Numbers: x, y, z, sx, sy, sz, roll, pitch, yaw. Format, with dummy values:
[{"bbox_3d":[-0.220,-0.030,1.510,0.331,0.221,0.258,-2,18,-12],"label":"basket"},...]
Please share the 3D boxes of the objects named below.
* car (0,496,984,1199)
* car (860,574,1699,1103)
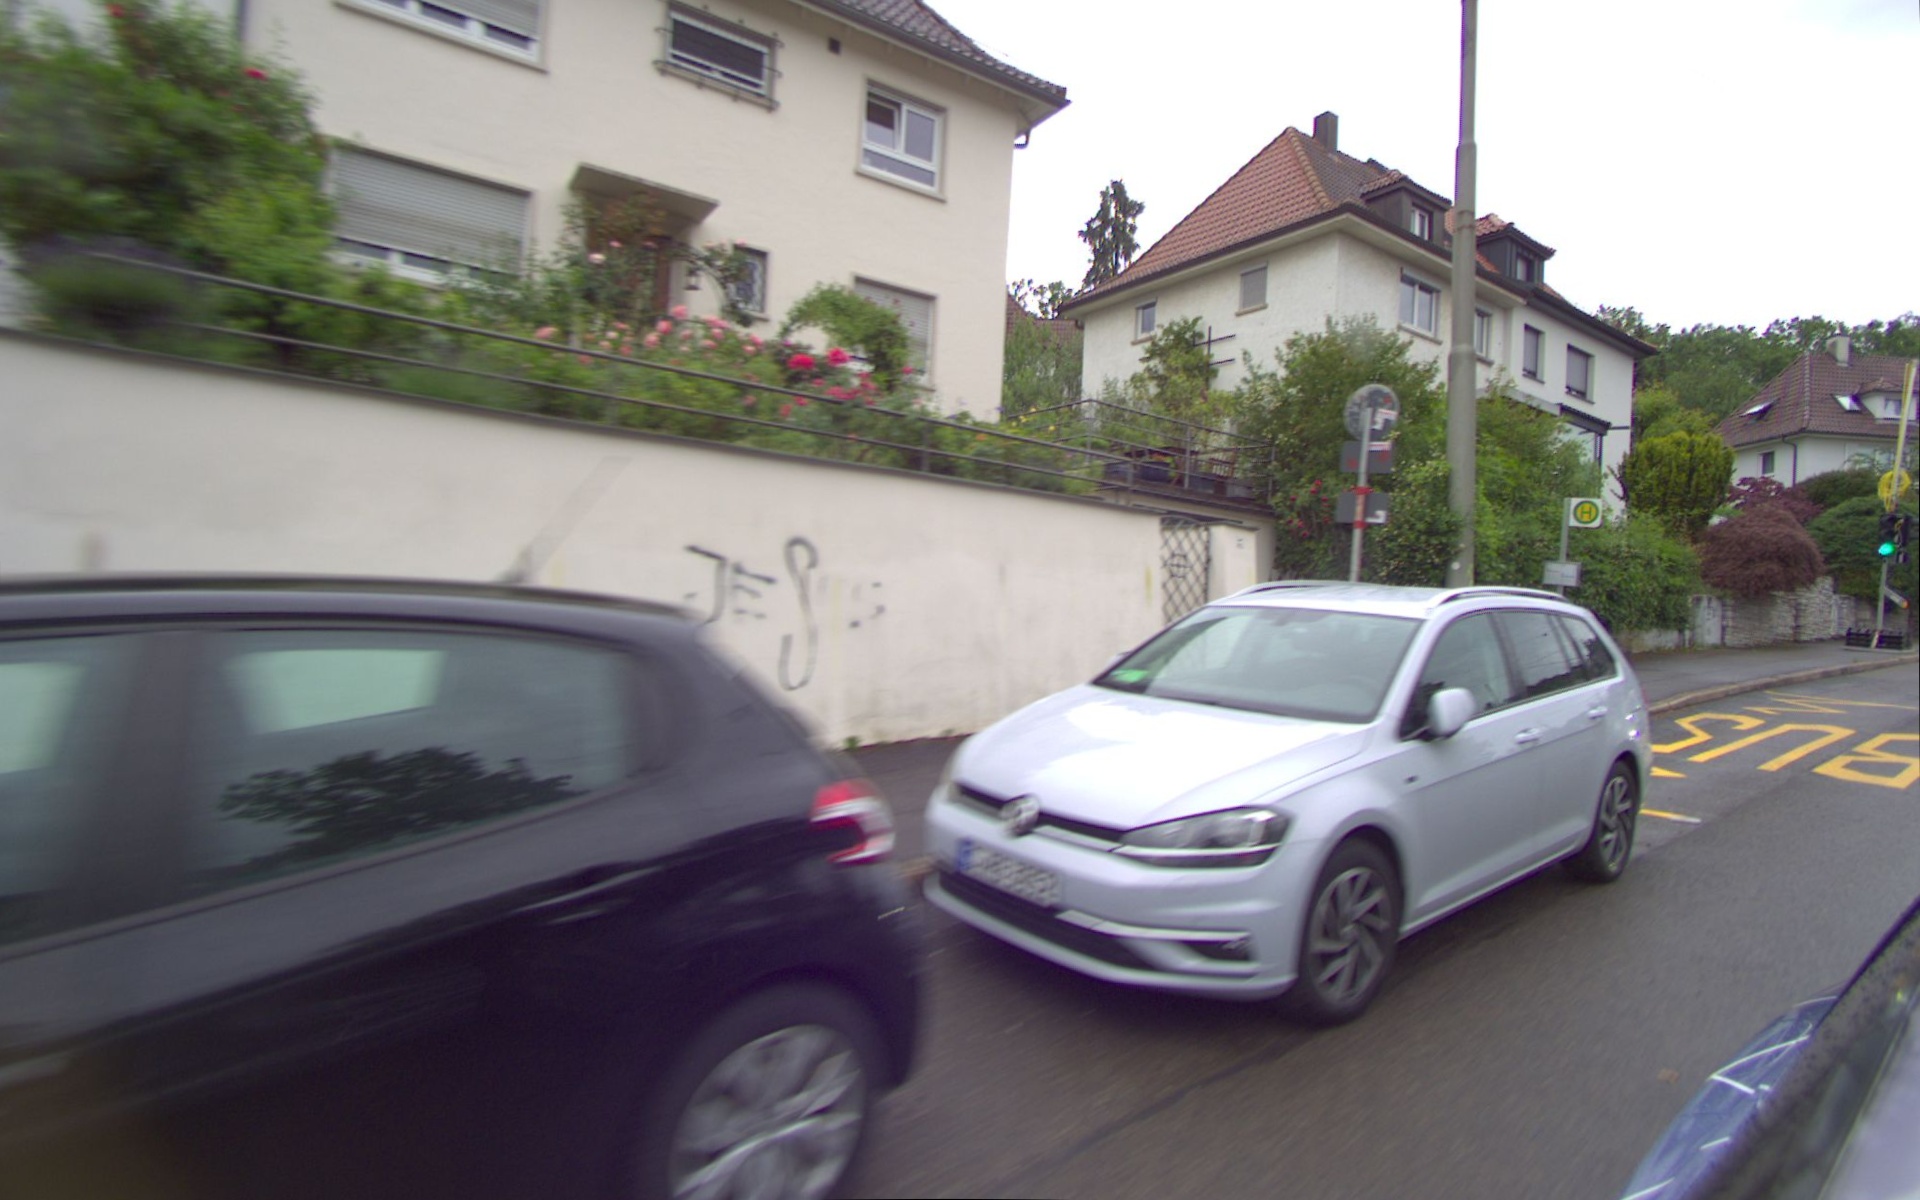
[{"bbox_3d":[-1.959,0.622,1.711,3.933,1.532,1.716,0,1,-43],"label":"car"},{"bbox_3d":[1.826,0.620,4.870,4.351,1.438,1.785,-1,2,-40],"label":"car"}]
